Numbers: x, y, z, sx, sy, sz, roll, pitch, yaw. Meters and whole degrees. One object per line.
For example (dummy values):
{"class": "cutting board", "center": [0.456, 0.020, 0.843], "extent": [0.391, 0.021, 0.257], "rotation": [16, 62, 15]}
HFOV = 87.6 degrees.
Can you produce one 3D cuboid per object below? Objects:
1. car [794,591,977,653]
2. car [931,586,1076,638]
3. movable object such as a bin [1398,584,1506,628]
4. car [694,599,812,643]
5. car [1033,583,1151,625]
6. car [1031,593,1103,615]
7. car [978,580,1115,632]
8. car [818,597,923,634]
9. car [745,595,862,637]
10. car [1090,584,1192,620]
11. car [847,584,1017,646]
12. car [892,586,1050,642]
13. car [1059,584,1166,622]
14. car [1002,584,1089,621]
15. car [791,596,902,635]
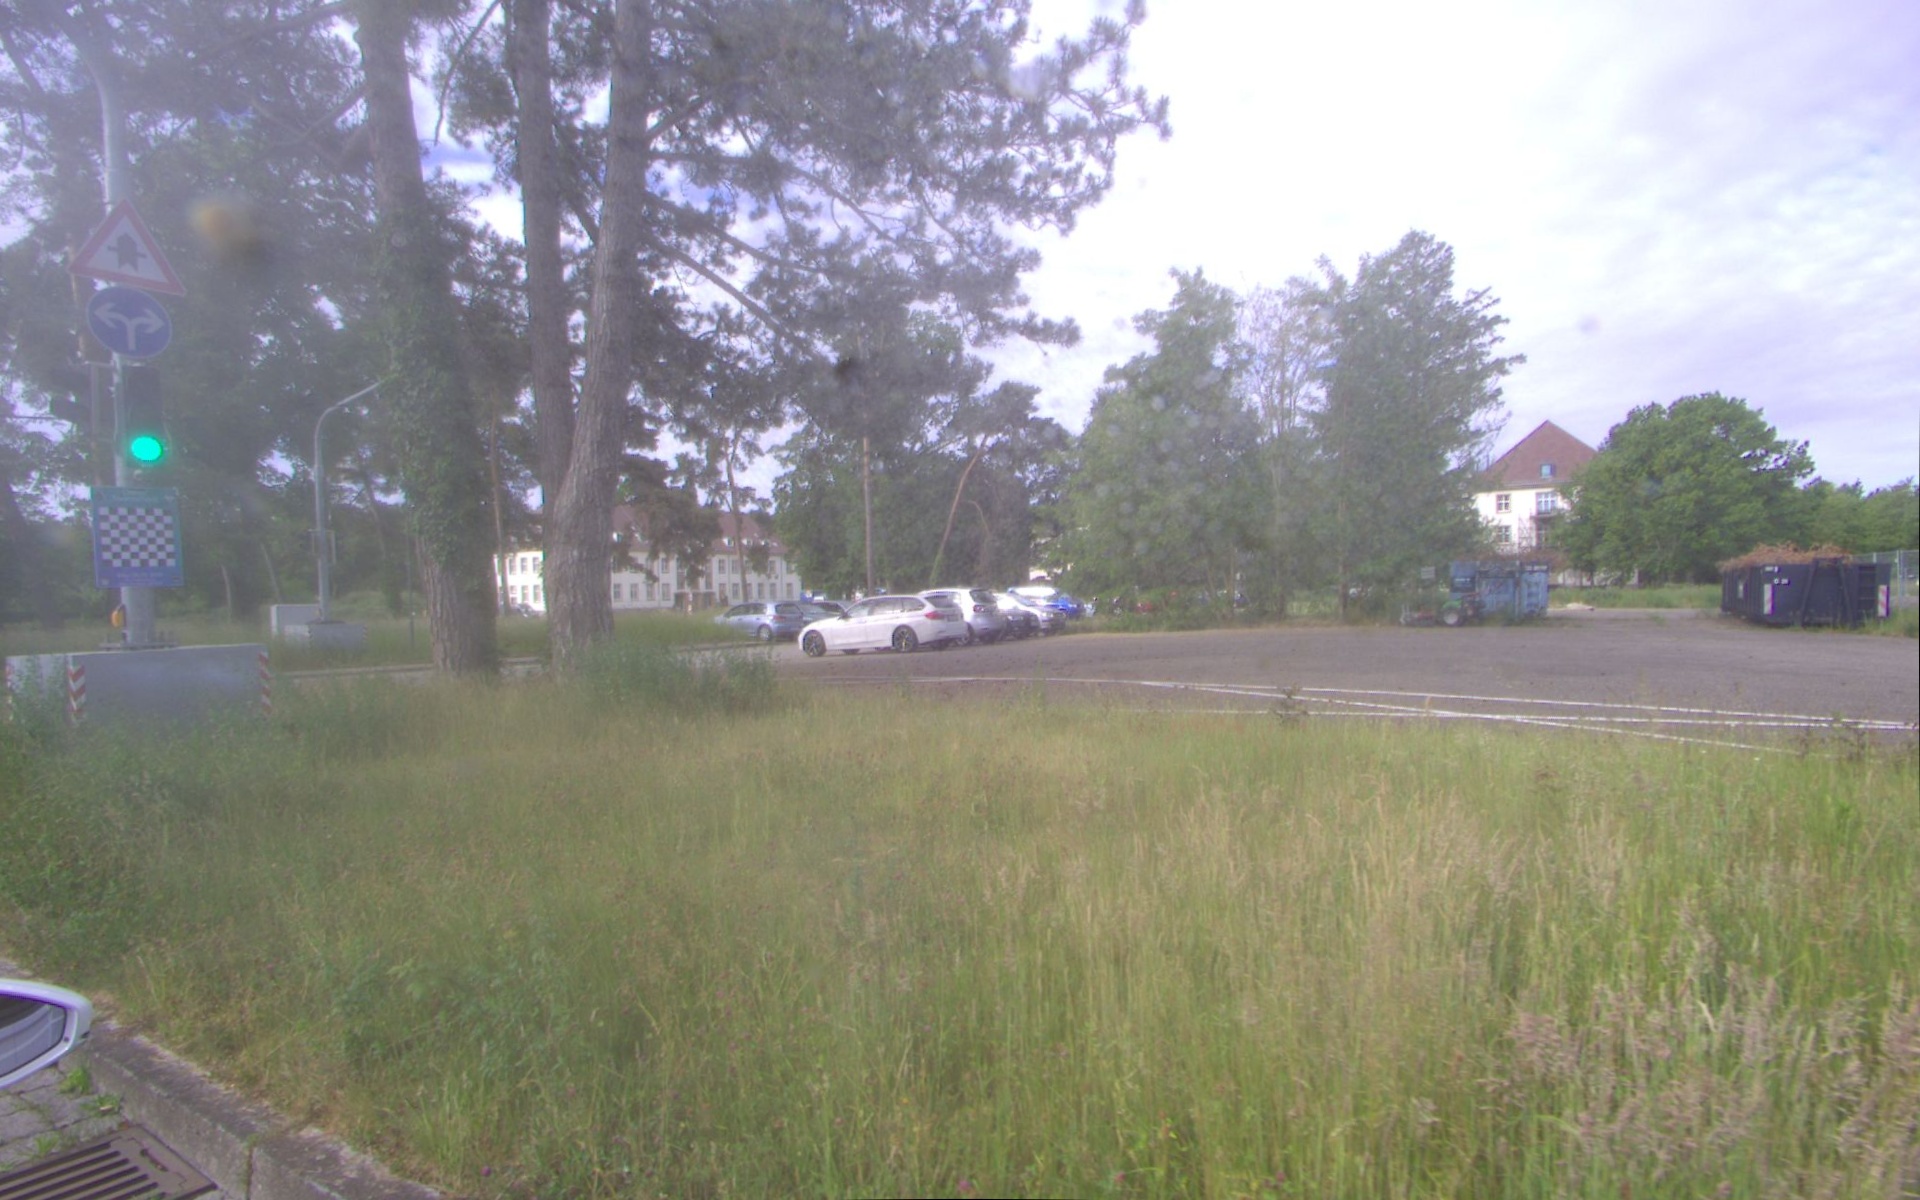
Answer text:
{"class": "car", "center": [-1.921, 0.574, 25.396], "extent": [4.380, 1.434, 1.750], "rotation": [-2, 0, 29]}
{"class": "car", "center": [1.414, 0.385, 32.816], "extent": [4.380, 1.598, 1.864], "rotation": [-1, 1, 29]}
{"class": "movable object such as a bin", "center": [13.009, 0.133, 26.501], "extent": [2.505, 1.098, 1.060], "rotation": [1, 2, 31]}
{"class": "car", "center": [-7.828, 0.774, 37.691], "extent": [4.386, 1.544, 1.747], "rotation": [-1, 1, 34]}
{"class": "car", "center": [5.372, 0.170, 40.810], "extent": [4.380, 1.598, 1.864], "rotation": [-1, 1, 29]}
{"class": "car", "center": [6.350, 0.245, 59.526], "extent": [3.942, 1.225, 1.654], "rotation": [-1, 1, 31]}
{"class": "car", "center": [2.993, 0.200, 34.821], "extent": [4.380, 1.709, 1.864], "rotation": [-1, 1, 29]}
{"class": "car", "center": [-3.963, 0.686, 44.170], "extent": [4.380, 1.544, 1.750], "rotation": [-1, 1, 29]}
{"class": "car", "center": [-6.189, 0.637, 39.534], "extent": [4.379, 1.544, 1.750], "rotation": [-1, 1, 28]}
{"class": "car", "center": [8.492, 0.083, 47.081], "extent": [4.380, 1.598, 1.864], "rotation": [-1, 1, 29]}
{"class": "car", "center": [-0.799, 0.419, 27.734], "extent": [4.380, 1.598, 1.864], "rotation": [-1, 1, 29]}
{"class": "car", "center": [0.317, 0.420, 30.172], "extent": [4.380, 1.598, 1.864], "rotation": [-1, 1, 29]}
{"class": "car", "center": [6.787, 0.127, 44.634], "extent": [4.380, 1.598, 1.864], "rotation": [-1, 1, 29]}
{"class": "car", "center": [4.878, 0.161, 57.270], "extent": [4.586, 1.994, 1.750], "rotation": [-1, 1, 29]}
{"class": "car", "center": [-4.761, 0.658, 41.776], "extent": [4.380, 1.544, 1.750], "rotation": [-1, 1, 29]}
